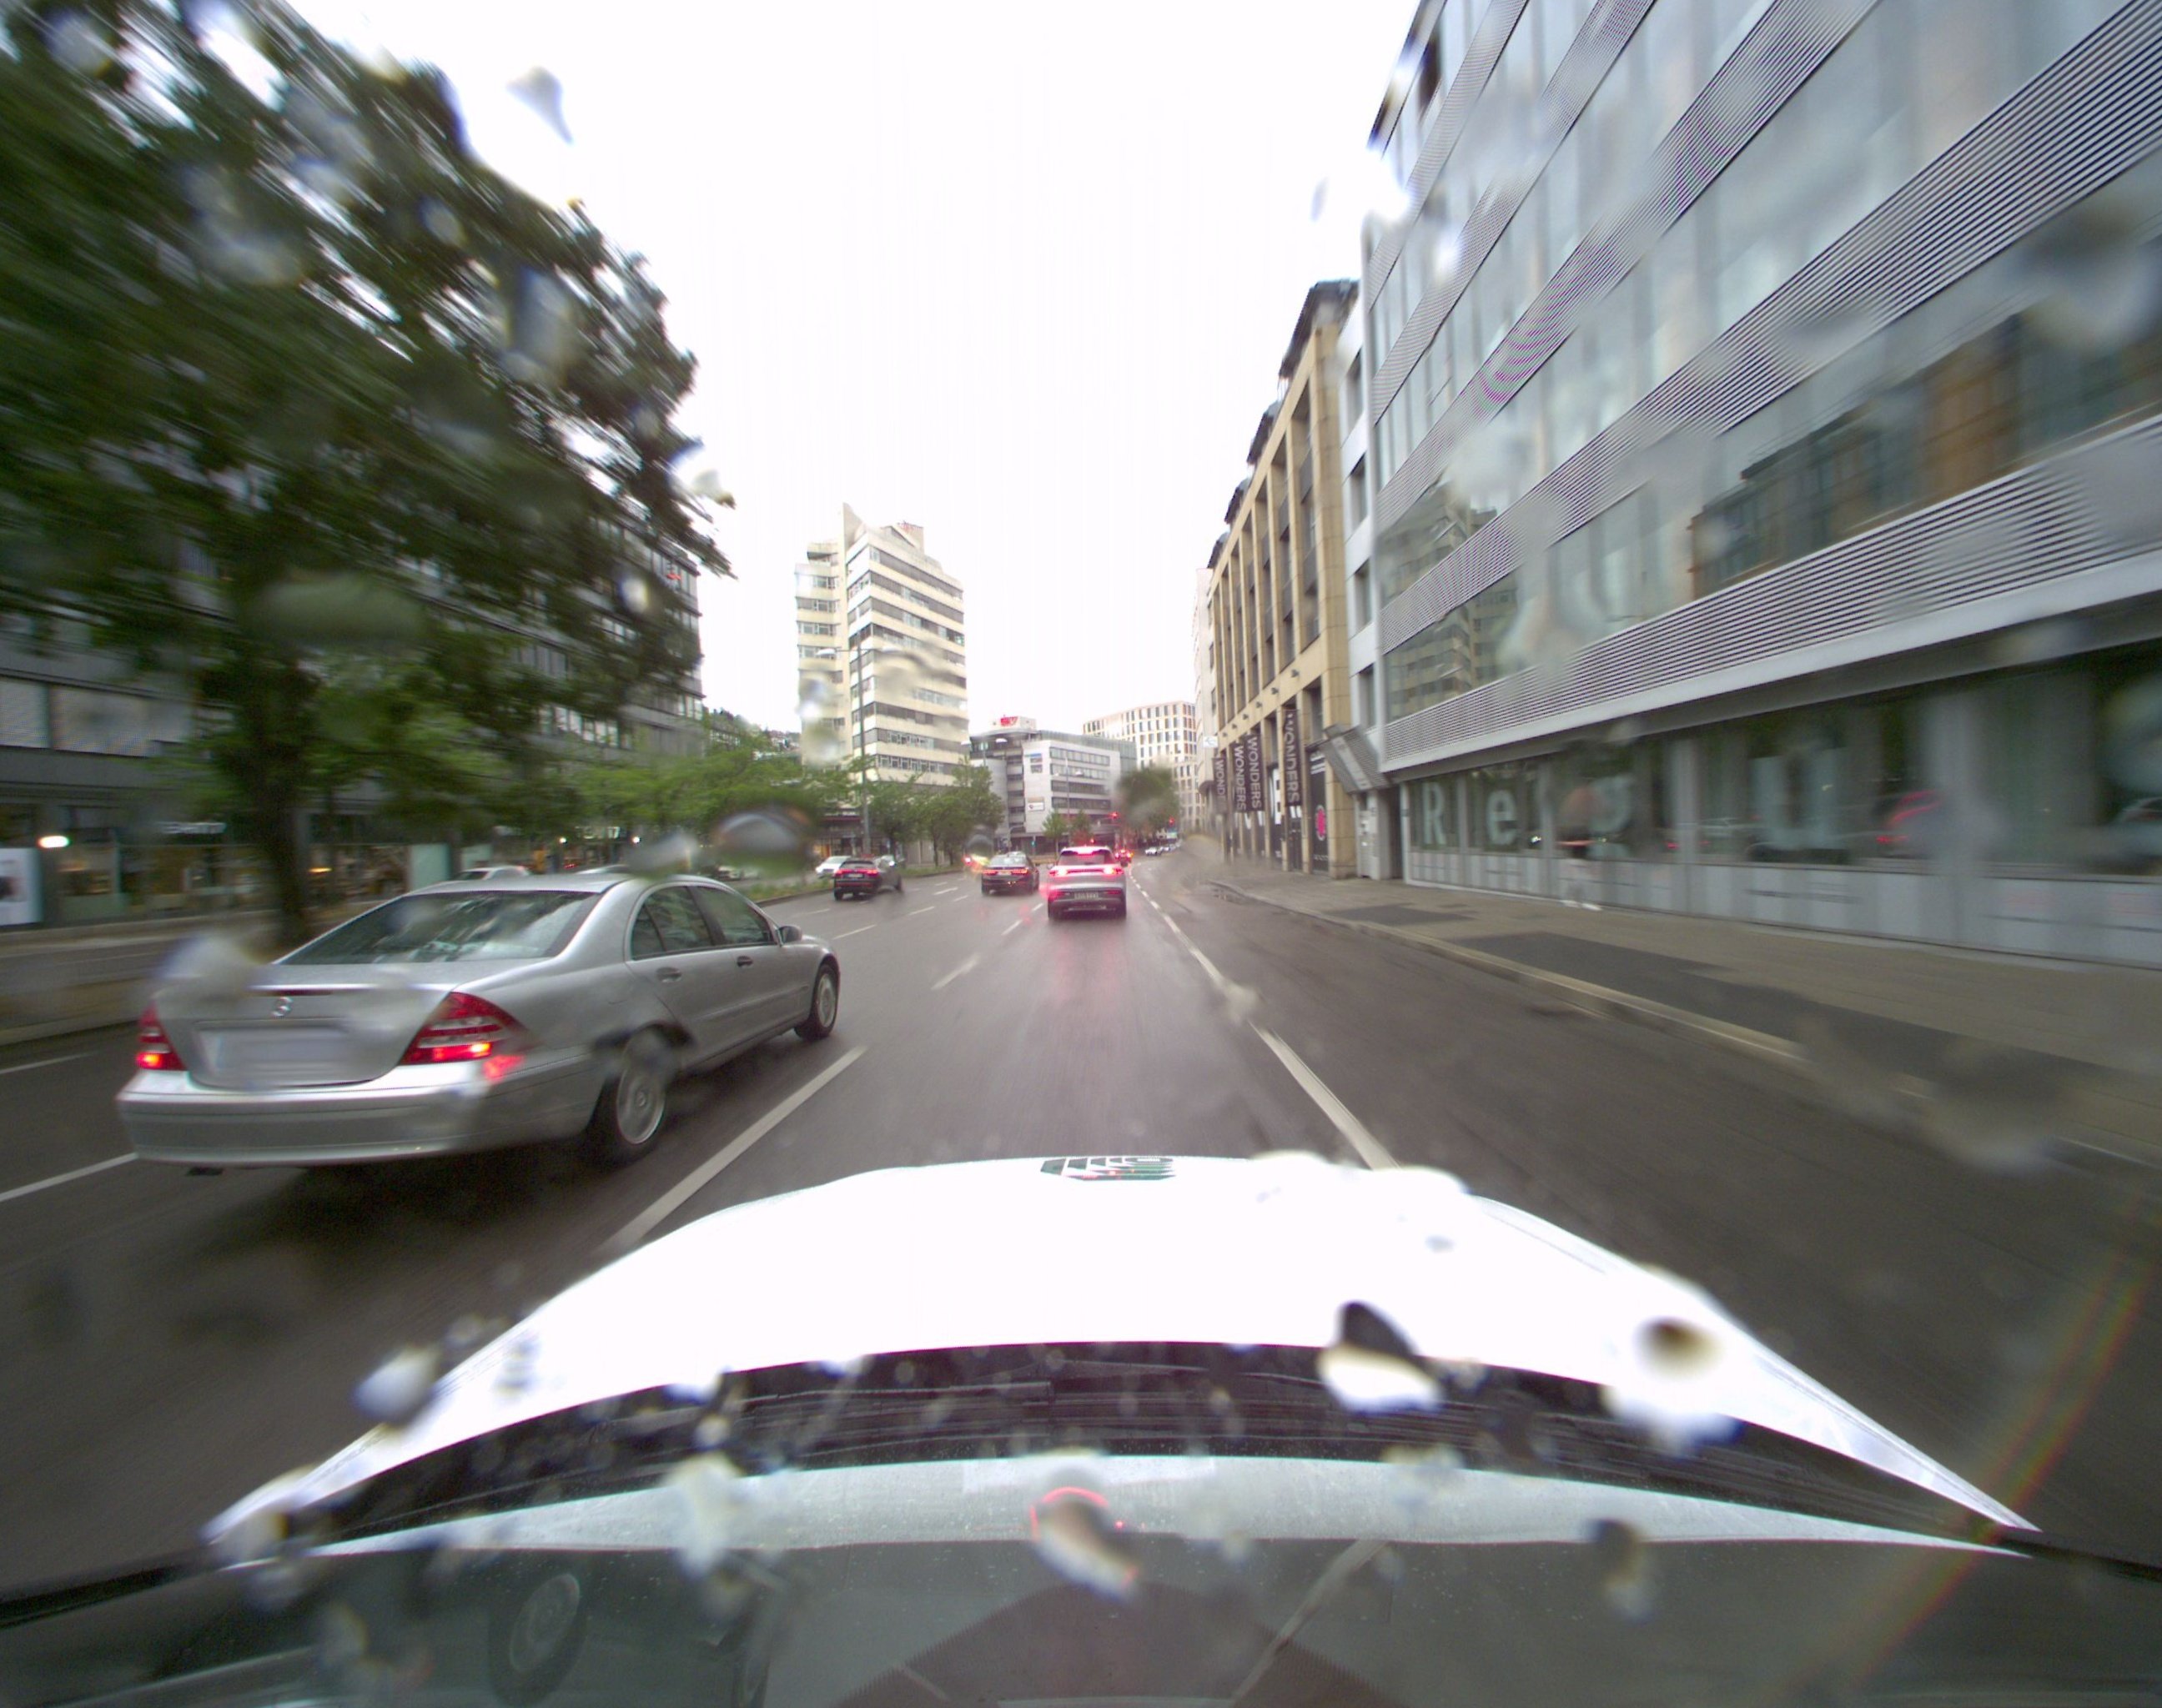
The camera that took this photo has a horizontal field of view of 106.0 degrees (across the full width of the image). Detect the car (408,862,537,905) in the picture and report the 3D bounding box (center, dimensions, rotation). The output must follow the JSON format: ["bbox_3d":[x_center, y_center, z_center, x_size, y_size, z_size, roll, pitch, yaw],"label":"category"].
[{"bbox_3d":[-23.464,1.070,31.644,1.618,1.432,4.445,-2,0,0],"label":"car"}]

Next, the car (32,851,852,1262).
[{"bbox_3d":[-2.990,0.748,5.204,1.666,1.479,4.362,-1,0,2],"label":"car"}]

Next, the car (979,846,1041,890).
[{"bbox_3d":[-2.665,0.483,31.656,1.866,1.479,4.878,-2,1,0],"label":"car"}]

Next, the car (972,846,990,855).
[{"bbox_3d":[-13.245,-0.424,107.973,1.573,1.090,4.005,-2,1,4],"label":"car"}]

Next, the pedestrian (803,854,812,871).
[{"bbox_3d":[-28.711,0.863,85.425,0.757,1.713,0.587,-2,1,-37],"label":"pedestrian"}]

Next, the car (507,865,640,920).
[{"bbox_3d":[-14.325,1.042,23.243,1.620,1.311,3.613,-2,0,-3],"label":"car"}]

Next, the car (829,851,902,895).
[{"bbox_3d":[-7.941,0.658,30.337,1.770,1.457,3.996,-2,0,-3],"label":"car"}]

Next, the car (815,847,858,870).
[{"bbox_3d":[-17.065,0.280,56.965,1.618,1.492,4.306,-2,0,0],"label":"car"}]

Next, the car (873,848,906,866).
[{"bbox_3d":[-16.521,0.245,70.318,1.617,1.453,4.165,-2,0,3],"label":"car"}]

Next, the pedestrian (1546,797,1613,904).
[{"bbox_3d":[8.611,-0.065,14.099,0.633,1.772,0.790,-2,0,2],"label":"pedestrian"}]

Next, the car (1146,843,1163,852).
[{"bbox_3d":[13.836,-1.232,152.965,1.565,1.538,4.026,-1,1,32],"label":"car"}]

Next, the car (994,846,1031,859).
[{"bbox_3d":[-7.457,-0.158,88.579,3.949,1.342,1.669,-1,1,41],"label":"car"}]

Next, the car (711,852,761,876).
[{"bbox_3d":[-22.923,0.614,54.307,1.618,1.460,3.962,-1,1,0],"label":"car"}]

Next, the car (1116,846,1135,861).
[{"bbox_3d":[5.204,-0.099,94.551,1.801,1.578,4.009,-2,1,8],"label":"car"}]

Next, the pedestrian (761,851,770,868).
[{"bbox_3d":[-29.045,0.513,74.951,0.606,1.503,0.432,-2,1,-37],"label":"pedestrian"}]

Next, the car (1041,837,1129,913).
[{"bbox_3d":[0.146,0.445,19.851,1.894,1.621,4.002,-1,1,1],"label":"car"}]

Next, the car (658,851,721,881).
[{"bbox_3d":[-23.067,0.651,48.180,1.618,1.610,4.232,-1,1,0],"label":"car"}]
